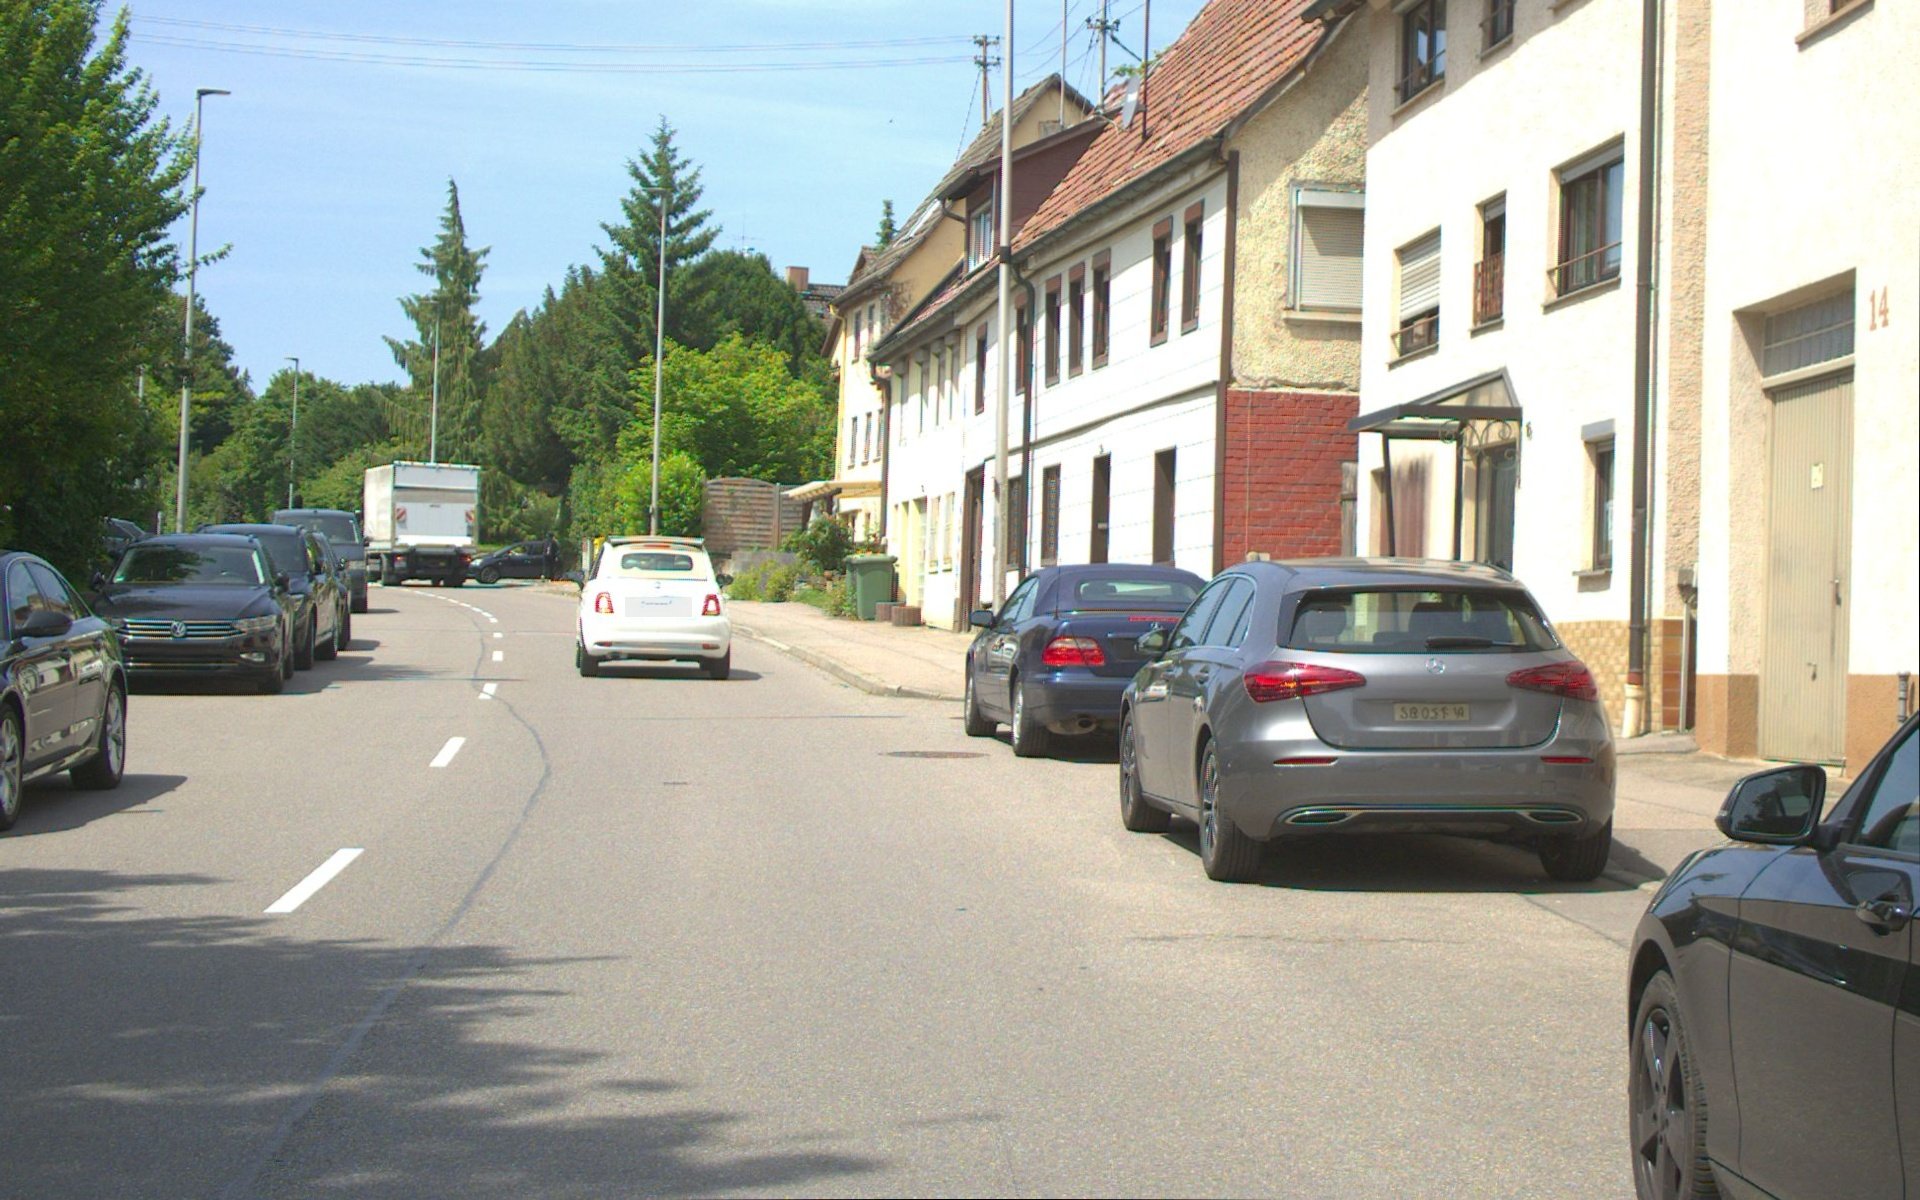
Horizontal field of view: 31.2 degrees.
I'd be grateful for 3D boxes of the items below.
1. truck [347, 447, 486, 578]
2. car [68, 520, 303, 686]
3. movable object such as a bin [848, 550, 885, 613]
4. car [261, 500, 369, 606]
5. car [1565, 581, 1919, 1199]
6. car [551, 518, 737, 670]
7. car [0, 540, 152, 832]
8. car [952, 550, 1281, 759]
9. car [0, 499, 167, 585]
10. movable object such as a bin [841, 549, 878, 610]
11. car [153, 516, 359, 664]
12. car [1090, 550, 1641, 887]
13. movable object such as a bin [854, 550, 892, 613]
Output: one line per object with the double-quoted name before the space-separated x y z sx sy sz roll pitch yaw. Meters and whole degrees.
"truck" -16.574 -2.582 104.418 3.067 3.761 7.870 1 0 -17
"car" -7.371 -0.012 33.091 1.788 1.458 4.713 1 1 -8
"movable object such as a bin" -1.567 -0.315 57.644 0.546 1.030 0.552 -1 2 -9
"car" -12.421 -0.901 66.020 1.890 1.931 4.988 0 1 -12
"car" 2.330 0.694 5.706 1.797 1.420 4.290 1 0 -1
"car" -3.563 -0.087 38.221 1.724 1.555 4.001 2 0 -10
"car" -5.841 0.404 19.069 1.804 1.419 4.929 1 2 -3
"car" 1.059 0.342 25.305 1.665 1.348 4.188 2 1 -8
"car" -18.365 -1.222 69.741 4.227 1.400 1.822 6 0 -17
"movable object such as a bin" -1.724 -0.351 58.821 0.546 1.030 0.552 -1 2 -9
"car" -7.885 -0.154 38.835 1.755 1.516 4.301 1 1 -5
"car" 1.798 0.468 16.686 1.793 1.398 4.413 0 1 -5
"movable object such as a bin" -1.447 -0.311 57.072 0.546 1.030 0.552 -1 2 -9
